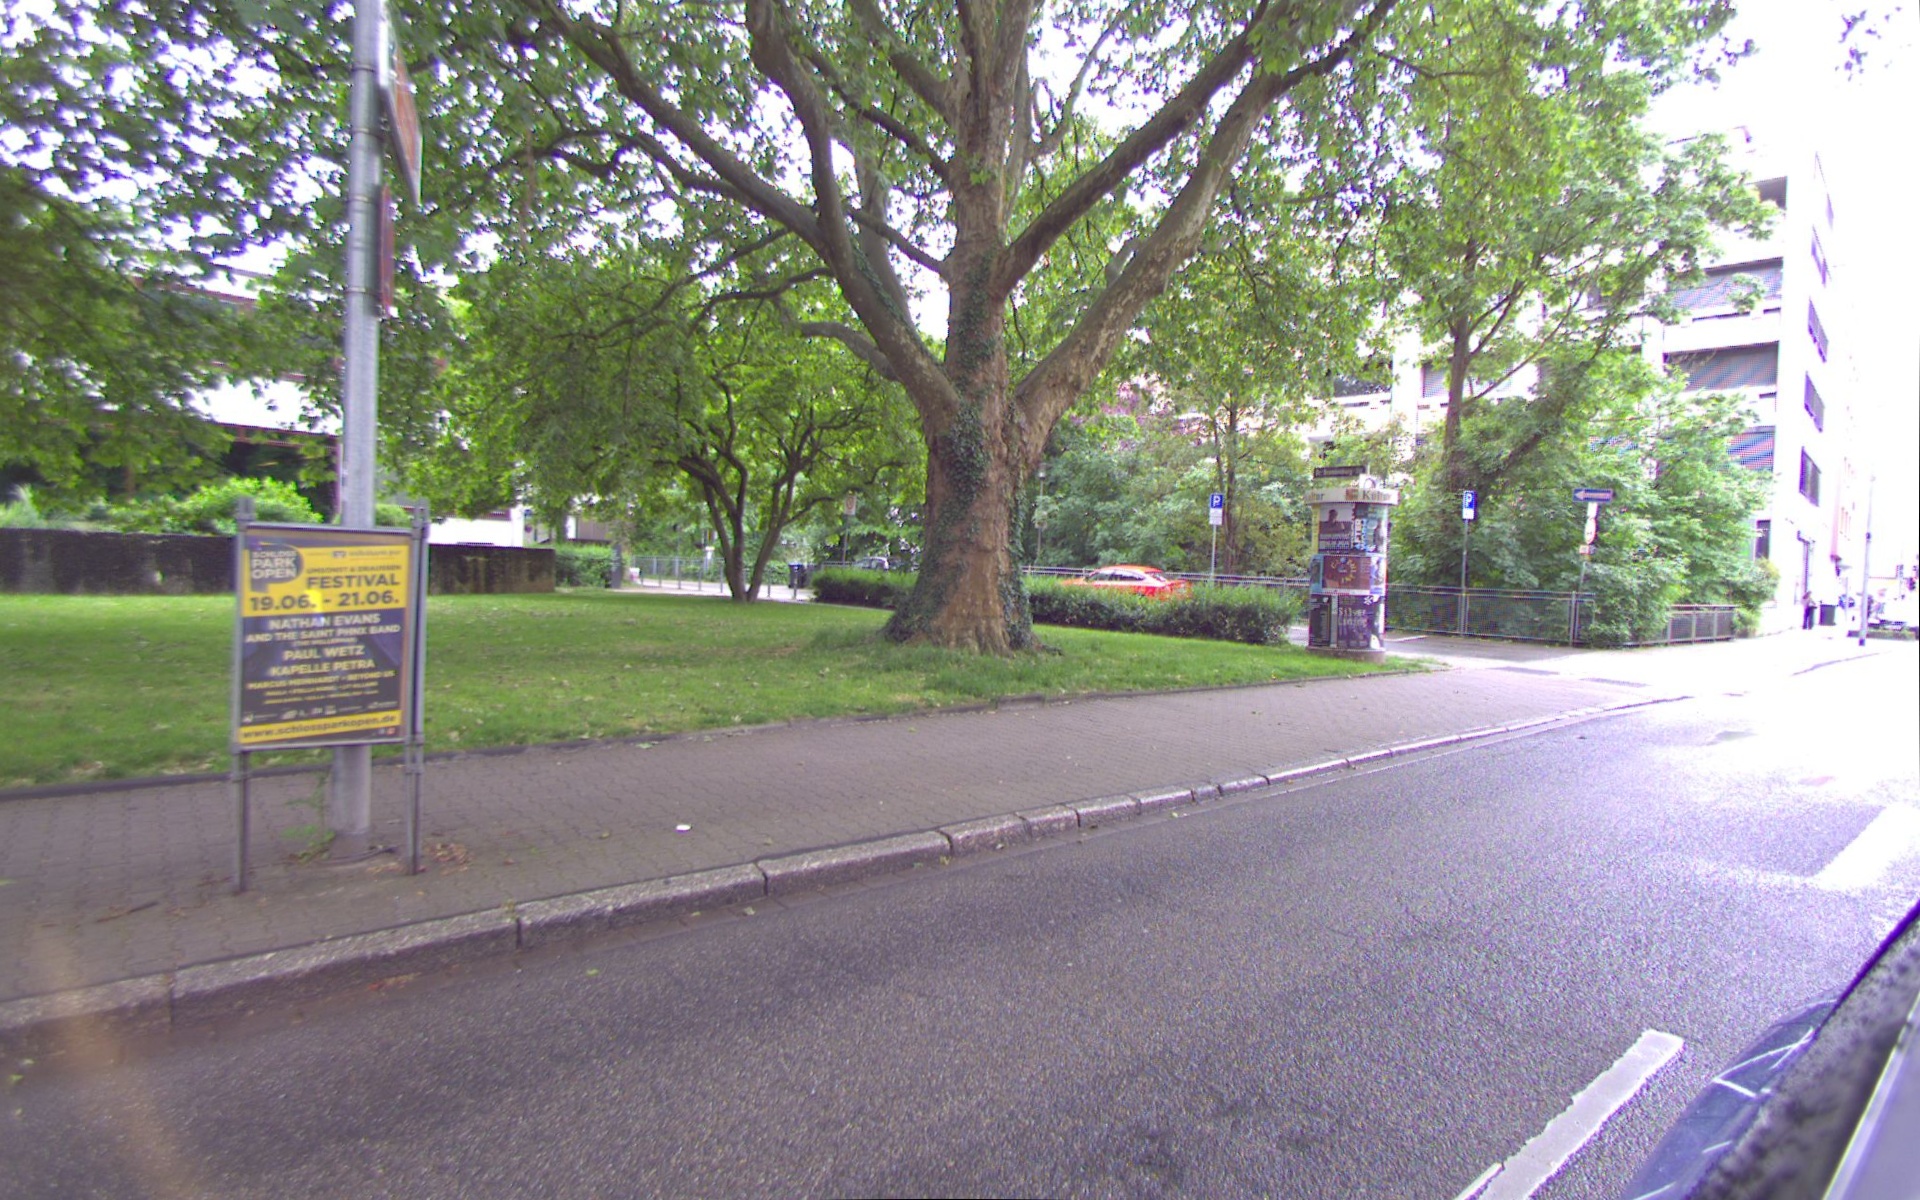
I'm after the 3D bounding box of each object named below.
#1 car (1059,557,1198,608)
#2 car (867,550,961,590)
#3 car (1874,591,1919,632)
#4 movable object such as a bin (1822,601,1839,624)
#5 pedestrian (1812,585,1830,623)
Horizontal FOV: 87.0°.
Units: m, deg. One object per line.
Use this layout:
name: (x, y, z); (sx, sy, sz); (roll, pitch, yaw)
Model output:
car: (4.860, -0.544, 29.517); (1.551, 1.294, 3.784); (-1, 4, -44)
car: (-1.698, -1.117, 36.682); (3.460, 1.294, 1.426); (5, 4, 45)
car: (37.402, 0.449, 39.740); (3.617, 1.449, 1.681); (0, 6, -41)
movable object such as a bin: (41.908, 0.613, 48.713); (0.287, 1.054, 0.556); (0, 3, -41)
pedestrian: (35.143, 0.145, 41.320); (0.473, 1.549, 0.480); (0, 0, -41)
